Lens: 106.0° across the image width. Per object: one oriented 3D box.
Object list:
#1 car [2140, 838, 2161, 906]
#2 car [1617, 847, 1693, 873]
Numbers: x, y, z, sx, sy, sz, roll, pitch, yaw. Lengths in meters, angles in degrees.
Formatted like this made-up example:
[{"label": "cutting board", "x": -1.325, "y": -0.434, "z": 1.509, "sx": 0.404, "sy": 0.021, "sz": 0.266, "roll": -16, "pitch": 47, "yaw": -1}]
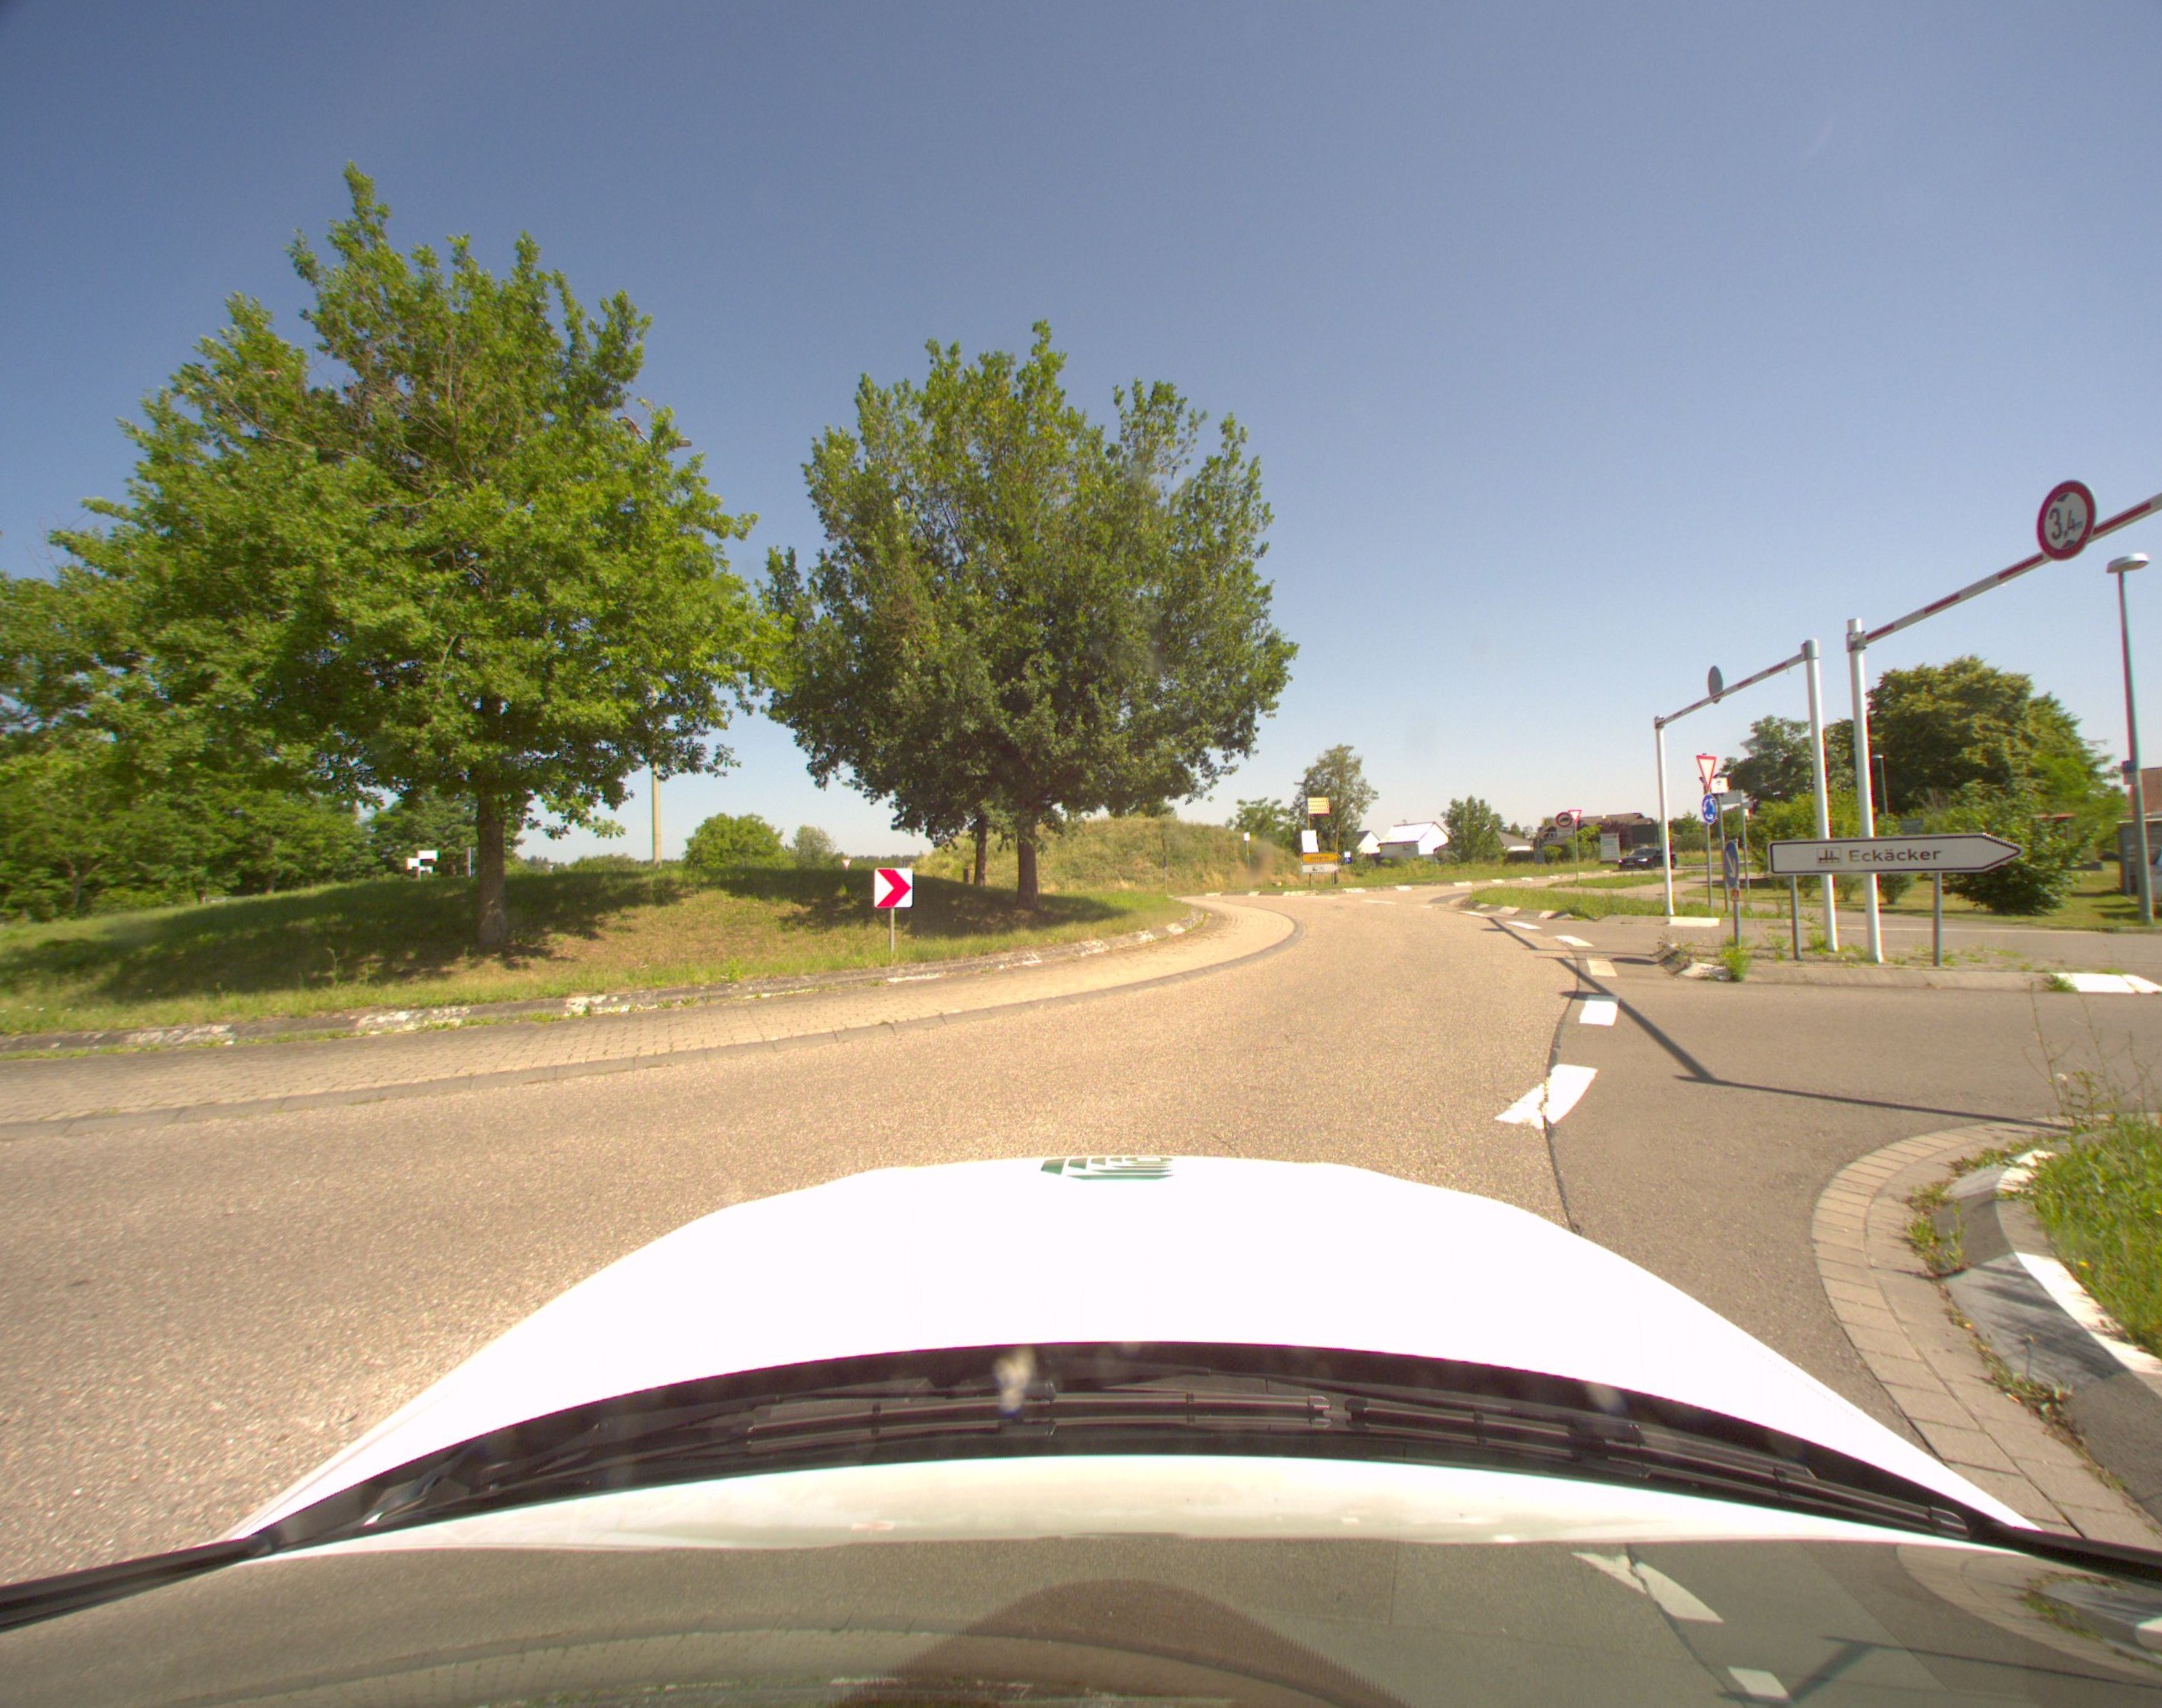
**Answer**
[{"label": "car", "x": 24.805, "y": 0.342, "z": 16.693, "sx": 1.734, "sy": 1.446, "sz": 3.729, "roll": -1, "pitch": 0, "yaw": -37}, {"label": "car", "x": 36.782, "y": 0.361, "z": 52.156, "sx": 4.926, "sy": 1.434, "sz": 1.905, "roll": -1, "pitch": -4, "yaw": -29}]
